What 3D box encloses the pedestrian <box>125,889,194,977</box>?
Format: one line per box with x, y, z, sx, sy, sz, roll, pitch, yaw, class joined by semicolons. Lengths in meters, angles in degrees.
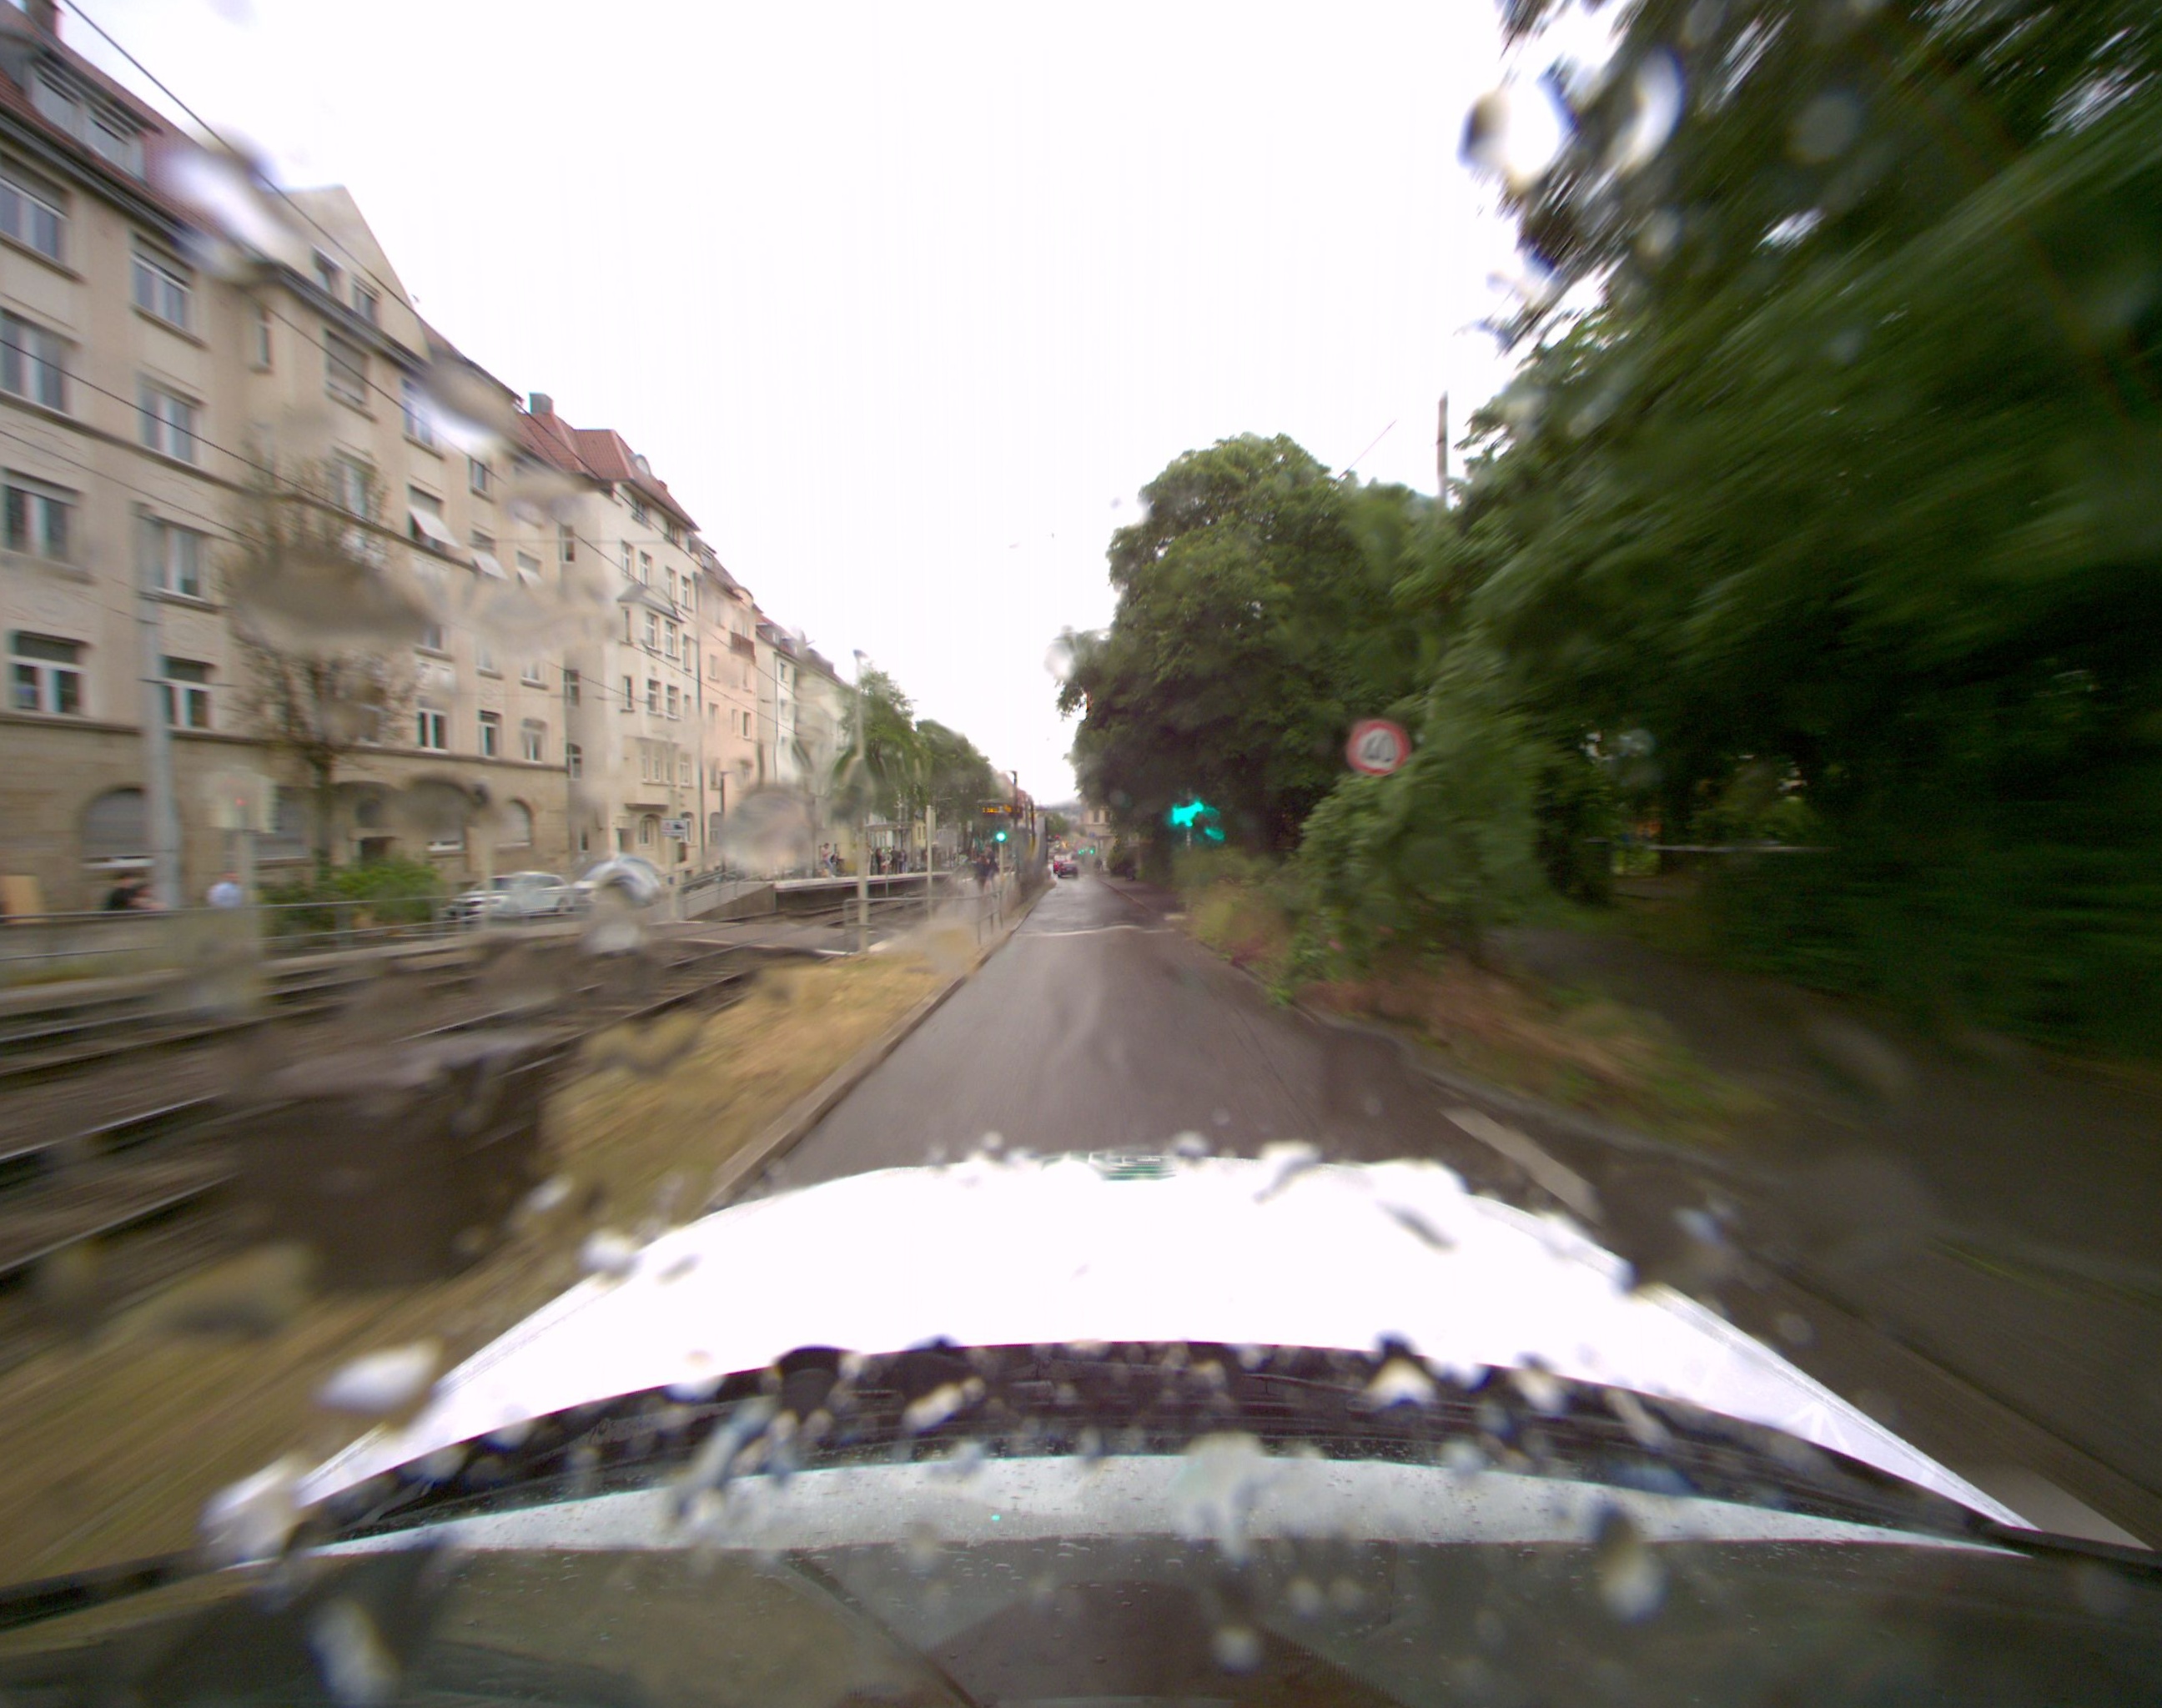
-16.814;1.434;14.871;0.518;1.532;0.621;-2;-1;1;pedestrian

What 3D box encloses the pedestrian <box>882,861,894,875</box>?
-12.345;0.871;52.163;0.548;0.872;0.614;-4;-1;-1;pedestrian

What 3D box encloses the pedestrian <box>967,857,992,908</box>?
-3.218;0.888;25.840;0.648;1.562;0.683;-2;0;0;pedestrian

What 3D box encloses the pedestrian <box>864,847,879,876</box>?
-12.221;0.435;47.538;0.592;1.666;0.762;-4;-1;-1;pedestrian

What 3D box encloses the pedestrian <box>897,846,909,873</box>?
-11.870;0.381;54.329;0.548;1.741;0.614;-4;-1;-1;pedestrian

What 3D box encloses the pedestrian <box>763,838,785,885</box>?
-12.512;0.304;33.158;0.559;1.850;0.598;-4;-1;-1;pedestrian

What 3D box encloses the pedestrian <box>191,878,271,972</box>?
-16.140;1.321;15.475;0.717;1.700;0.729;-2;-1;1;pedestrian

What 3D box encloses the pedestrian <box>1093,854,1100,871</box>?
1.502;0.821;79.044;0.693;1.695;0.555;-2;0;-2;pedestrian

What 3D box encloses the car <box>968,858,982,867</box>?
-17.573;1.371;134.934;1.768;1.453;4.253;-4;0;-1;car

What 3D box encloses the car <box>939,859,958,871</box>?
-18.009;1.478;110.852;1.720;1.515;4.496;-2;1;1;car

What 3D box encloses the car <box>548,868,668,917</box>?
-18.454;1.438;32.068;1.916;1.622;4.536;-3;0;1;car

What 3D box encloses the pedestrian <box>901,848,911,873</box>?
-12.561;0.470;58.380;0.481;1.741;0.563;-4;-1;-1;pedestrian

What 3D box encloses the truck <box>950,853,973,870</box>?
-17.693;1.065;121.016;2.043;2.393;6.325;-2;0;3;truck

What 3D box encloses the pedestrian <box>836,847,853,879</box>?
-12.801;0.499;44.102;0.592;1.666;0.762;-4;-1;-1;pedestrian

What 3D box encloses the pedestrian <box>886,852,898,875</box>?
-12.332;0.609;53.065;0.548;1.413;0.614;-4;-1;-1;pedestrian

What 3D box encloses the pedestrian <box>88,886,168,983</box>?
-16.425;1.371;14.047;0.623;1.593;0.621;-2;-1;1;pedestrian

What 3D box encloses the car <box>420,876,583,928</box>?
-18.572;1.492;26.436;1.987;1.533;4.532;0;-2;0;car

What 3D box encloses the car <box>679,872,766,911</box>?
-17.889;1.829;40.939;1.986;1.732;4.816;-3;-1;2;car

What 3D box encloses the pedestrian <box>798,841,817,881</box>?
-12.754;0.341;38.028;0.514;1.838;0.762;-4;-1;-1;pedestrian

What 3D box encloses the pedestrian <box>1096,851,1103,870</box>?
1.820;0.627;79.681;0.552;1.813;0.650;-2;0;-3;pedestrian

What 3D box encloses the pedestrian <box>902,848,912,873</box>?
-12.377;0.452;57.794;0.481;1.741;0.563;-4;-1;-1;pedestrian

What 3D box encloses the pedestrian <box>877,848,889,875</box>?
-12.404;0.485;51.010;0.548;1.666;0.614;-4;-1;-1;pedestrian

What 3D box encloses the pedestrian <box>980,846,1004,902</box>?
-2.933;0.654;26.907;0.648;1.784;0.847;-2;0;0;pedestrian

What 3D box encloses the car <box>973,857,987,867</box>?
-17.579;1.331;142.180;1.768;1.546;4.254;-4;0;-1;car

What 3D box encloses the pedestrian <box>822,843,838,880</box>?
-12.806;0.384;41.567;0.514;1.838;0.762;-4;-1;-1;pedestrian

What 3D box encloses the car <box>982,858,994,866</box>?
-17.564;1.472;153.615;1.767;1.488;4.255;-4;0;0;car

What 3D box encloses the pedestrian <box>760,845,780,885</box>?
-12.865;0.454;33.725;0.514;1.605;0.562;-4;-1;-1;pedestrian

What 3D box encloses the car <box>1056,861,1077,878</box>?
-1.369;1.457;77.232;1.847;1.473;3.997;-2;0;-2;car

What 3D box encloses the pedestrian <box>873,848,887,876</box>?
-12.294;0.466;49.885;0.592;1.666;0.591;-4;-1;-1;pedestrian

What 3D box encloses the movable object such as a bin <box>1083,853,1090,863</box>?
0.960;0.746;150.983;1.166;1.655;1.307;-3;0;-4;movable object such as a bin

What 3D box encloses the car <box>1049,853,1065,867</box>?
-3.224;0.840;109.038;1.943;1.793;4.141;-1;-1;-2;car
